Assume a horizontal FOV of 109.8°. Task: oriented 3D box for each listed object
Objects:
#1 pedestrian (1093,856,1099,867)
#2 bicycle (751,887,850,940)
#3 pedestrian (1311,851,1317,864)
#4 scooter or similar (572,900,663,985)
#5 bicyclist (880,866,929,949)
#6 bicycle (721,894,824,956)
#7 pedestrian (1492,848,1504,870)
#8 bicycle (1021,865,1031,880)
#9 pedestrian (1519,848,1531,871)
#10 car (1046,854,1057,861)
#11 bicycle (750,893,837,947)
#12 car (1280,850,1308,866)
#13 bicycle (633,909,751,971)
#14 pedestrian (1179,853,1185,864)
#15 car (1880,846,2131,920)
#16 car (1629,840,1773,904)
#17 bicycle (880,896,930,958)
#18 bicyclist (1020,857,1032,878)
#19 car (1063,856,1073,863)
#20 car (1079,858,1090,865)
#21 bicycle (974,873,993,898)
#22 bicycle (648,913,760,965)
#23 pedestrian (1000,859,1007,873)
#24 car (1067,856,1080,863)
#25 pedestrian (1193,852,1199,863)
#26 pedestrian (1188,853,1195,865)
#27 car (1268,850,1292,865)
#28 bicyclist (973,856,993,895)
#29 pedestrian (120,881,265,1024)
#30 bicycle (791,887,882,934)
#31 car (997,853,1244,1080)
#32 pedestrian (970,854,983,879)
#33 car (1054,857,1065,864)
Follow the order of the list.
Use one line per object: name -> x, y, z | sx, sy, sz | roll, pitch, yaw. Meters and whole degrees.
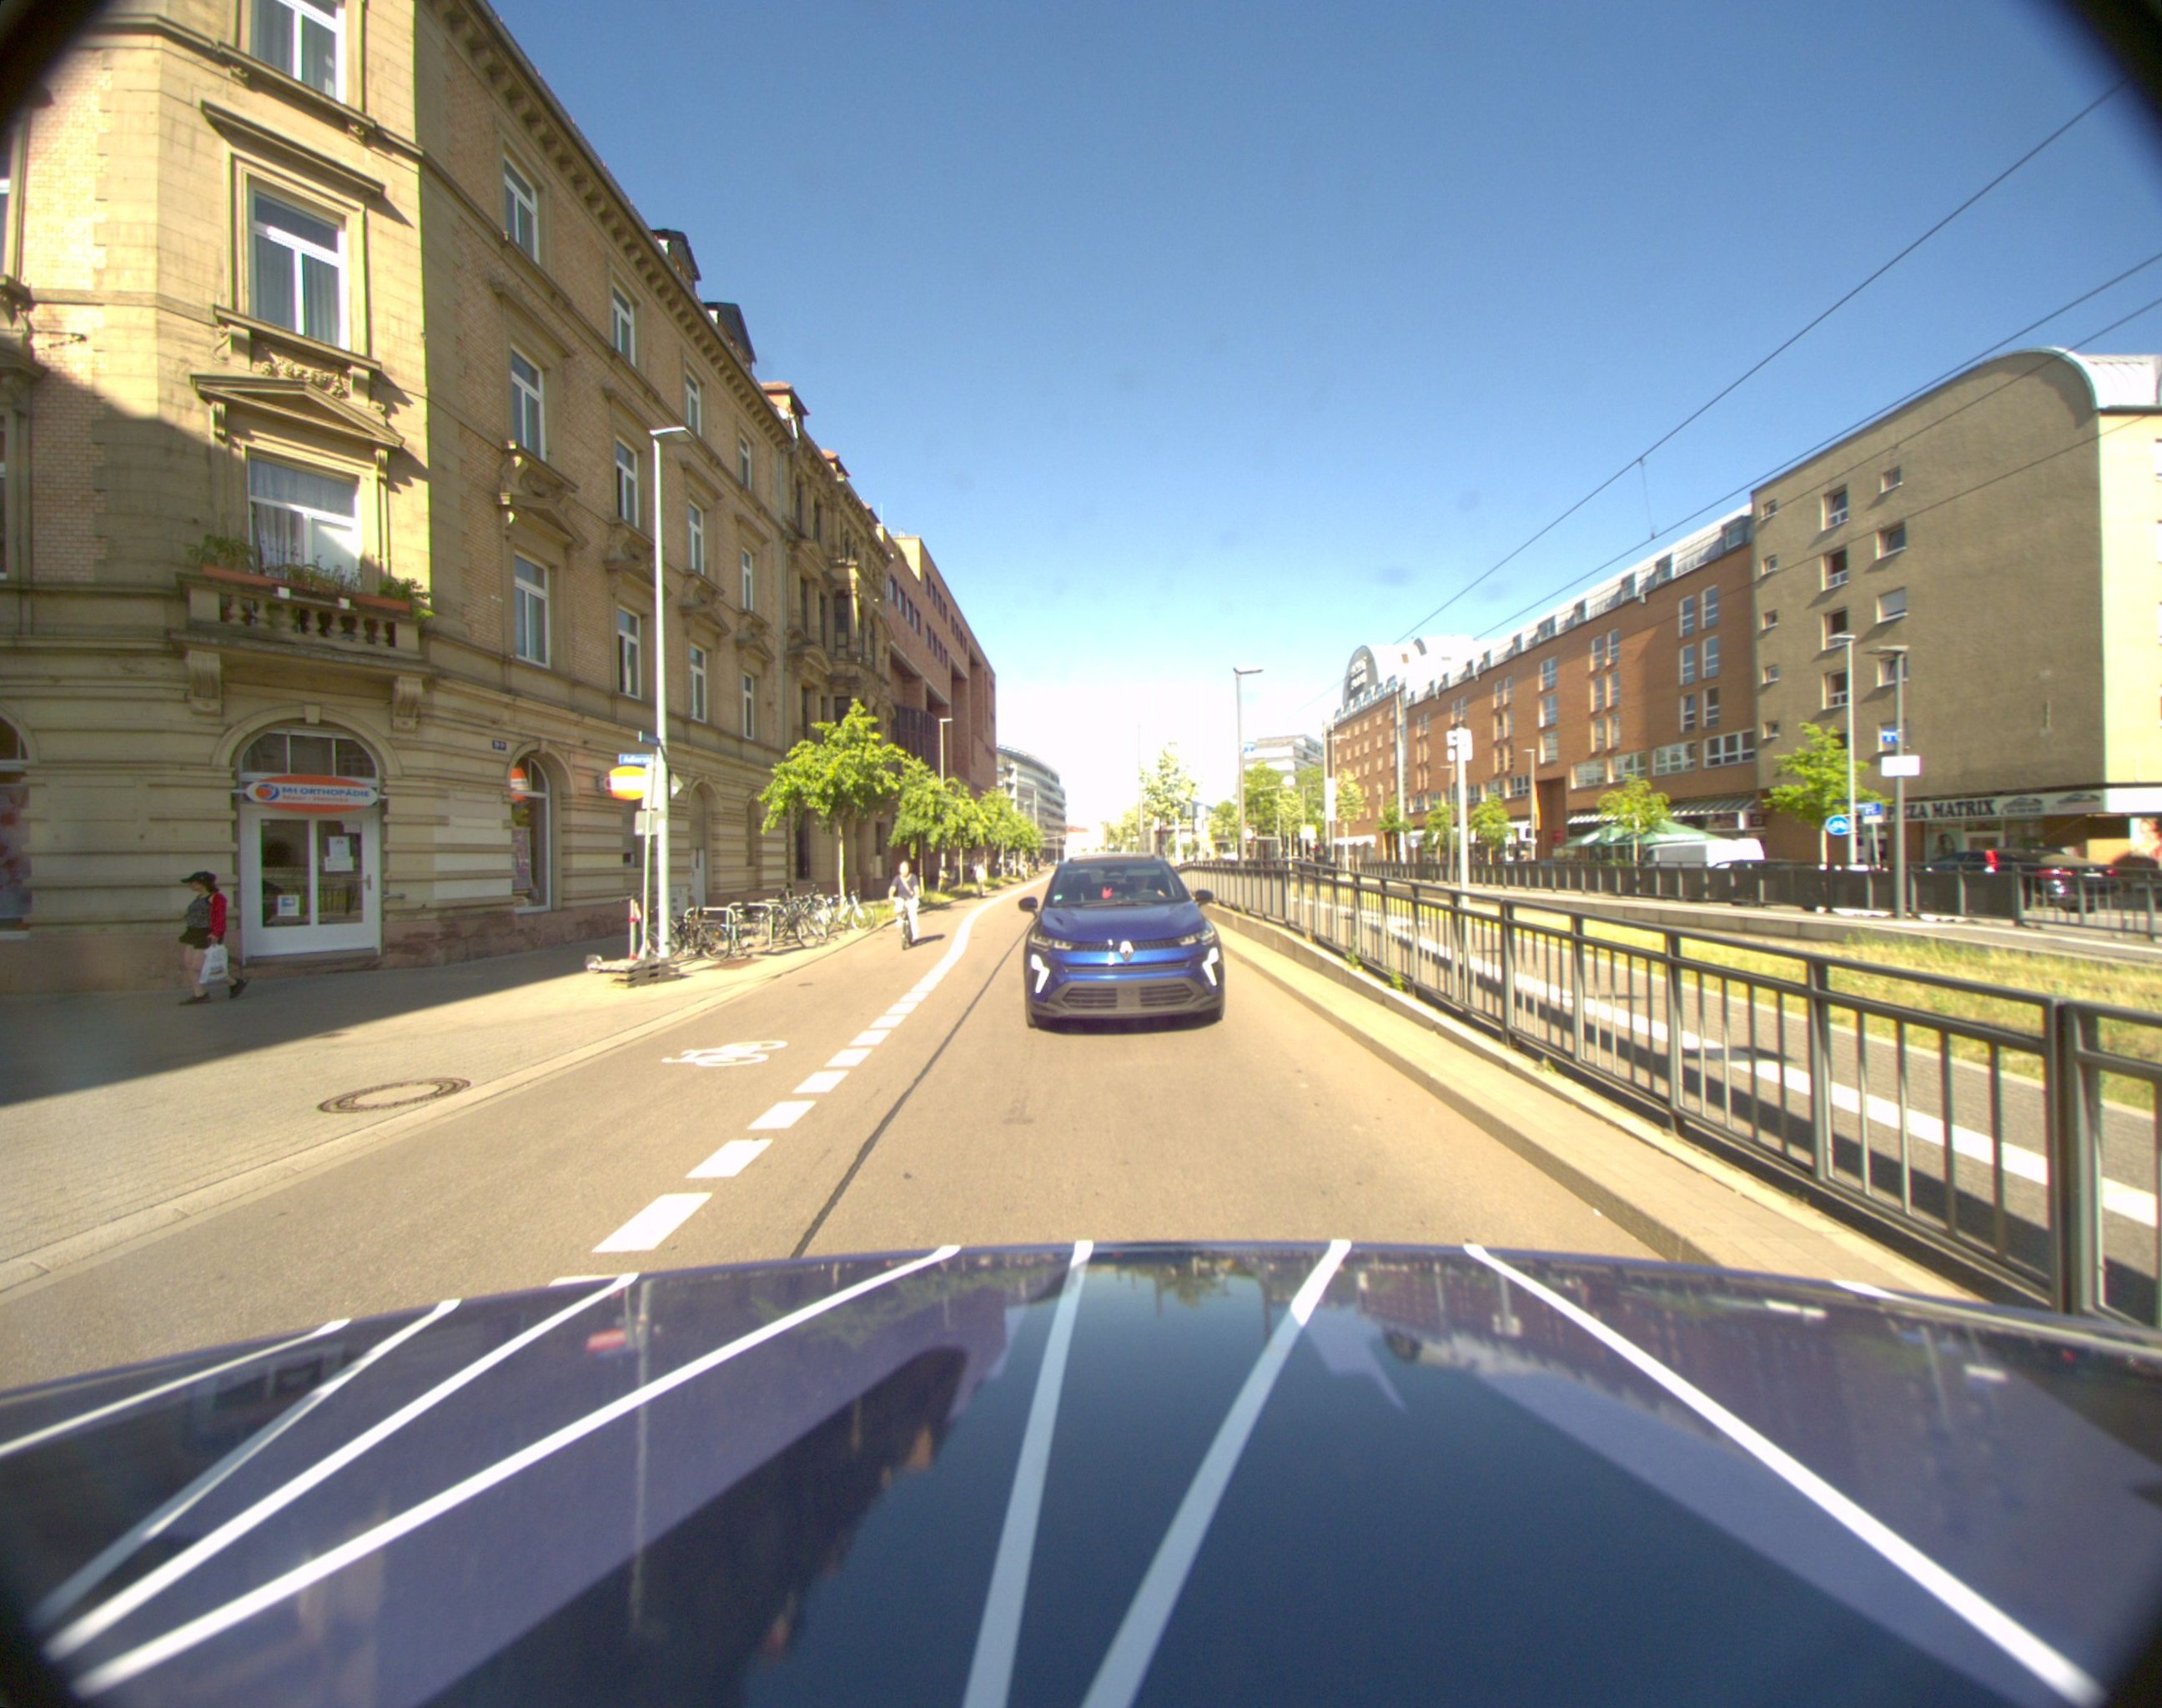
pedestrian -> 2.033, 0.995, 105.161 | 0.774, 1.478, 0.686 | -1, 0, 1
bicycle -> -6.445, 1.351, 17.516 | 1.999, 1.121, 0.710 | 1, 0, 2
pedestrian -> 33.537, 0.485, 109.285 | 0.715, 1.745, 0.780 | -1, 0, 17
scooter or similar -> -6.763, 1.282, 11.099 | 1.113, 1.183, 0.419 | 0, 0, 8
bicyclist -> -3.421, 1.014, 14.765 | 0.659, 1.528, 0.909 | -3, 0, 0
bicycle -> -5.921, 1.354, 14.642 | 1.727, 1.094, 0.607 | 1, 0, 4
pedestrian -> 35.646, 0.433, 64.979 | 0.622, 1.830, 0.644 | -1, 1, -1
bicycle -> -4.388, 1.465, 60.807 | 0.578, 1.090, 1.507 | -3, 0, 3
pedestrian -> 35.078, 0.452, 60.017 | 0.622, 1.830, 0.645 | -1, 1, 1
car -> -6.792, 0.880, 174.210 | 1.882, 1.455, 4.001 | -2, 1, 7
bicycle -> -6.124, 1.398, 16.200 | 1.603, 1.039, 0.607 | 1, 0, 4
car -> 23.910, 0.458, 85.335 | 1.998, 1.674, 3.999 | -2, 1, 1
bicycle -> -6.392, 1.400, 12.505 | 1.673, 0.938, 0.607 | 0, 0, 8
pedestrian -> 13.784, 0.594, 104.087 | 0.608, 1.560, 0.728 | -1, 0, 21
car -> 24.217, 0.700, 20.171 | 1.819, 1.749, 4.000 | -1, 0, 0
car -> 25.352, 0.677, 31.417 | 1.997, 2.356, 5.649 | -1, 0, 8
bicycle -> -3.395, 1.382, 14.732 | 0.558, 1.021, 1.507 | -3, 0, 0
bicyclist -> -4.413, 1.054, 60.798 | 0.755, 1.607, 0.762 | -3, 0, 4
car -> -3.286, 1.319, 189.421 | 1.882, 1.455, 4.001 | -2, 1, 7
car -> 0.871, 1.697, 172.655 | 1.882, 1.455, 4.002 | -2, 1, 8
bicycle -> -4.460, 1.444, 34.951 | 0.578, 1.090, 1.507 | -3, 0, 2
bicycle -> -6.520, 1.465, 13.173 | 1.673, 0.816, 0.607 | 0, 0, 7
pedestrian -> -8.148, 1.225, 80.261 | 0.633, 1.478, 0.736 | -1, 1, 0
car -> -1.683, 1.331, 173.843 | 2.120, 1.547, 4.003 | -1, 0, 9
pedestrian -> 15.929, 0.471, 105.019 | 0.609, 1.560, 0.910 | -3, 0, 16
pedestrian -> 15.600, 0.713, 106.847 | 0.729, 1.560, 0.608 | -2, 0, -44
car -> 24.879, 0.437, 95.009 | 1.998, 1.674, 3.999 | -2, 1, 1
bicyclist -> -4.503, 0.984, 34.896 | 0.684, 1.718, 0.909 | -3, 0, 3
pedestrian -> -10.448, 1.109, 8.955 | 0.709, 1.533, 0.928 | -1, 1, 26
bicycle -> -6.018, 1.388, 18.812 | 2.001, 1.086, 0.846 | 1, 0, -9
car -> 0.326, 0.854, 7.737 | 1.802, 1.596, 3.999 | -2, 1, 1
pedestrian -> -7.911, 0.918, 57.444 | 0.790, 1.872, 1.106 | -1, 1, 0
car -> -5.187, 1.497, 181.465 | 1.882, 1.455, 4.001 | -2, 1, 7
